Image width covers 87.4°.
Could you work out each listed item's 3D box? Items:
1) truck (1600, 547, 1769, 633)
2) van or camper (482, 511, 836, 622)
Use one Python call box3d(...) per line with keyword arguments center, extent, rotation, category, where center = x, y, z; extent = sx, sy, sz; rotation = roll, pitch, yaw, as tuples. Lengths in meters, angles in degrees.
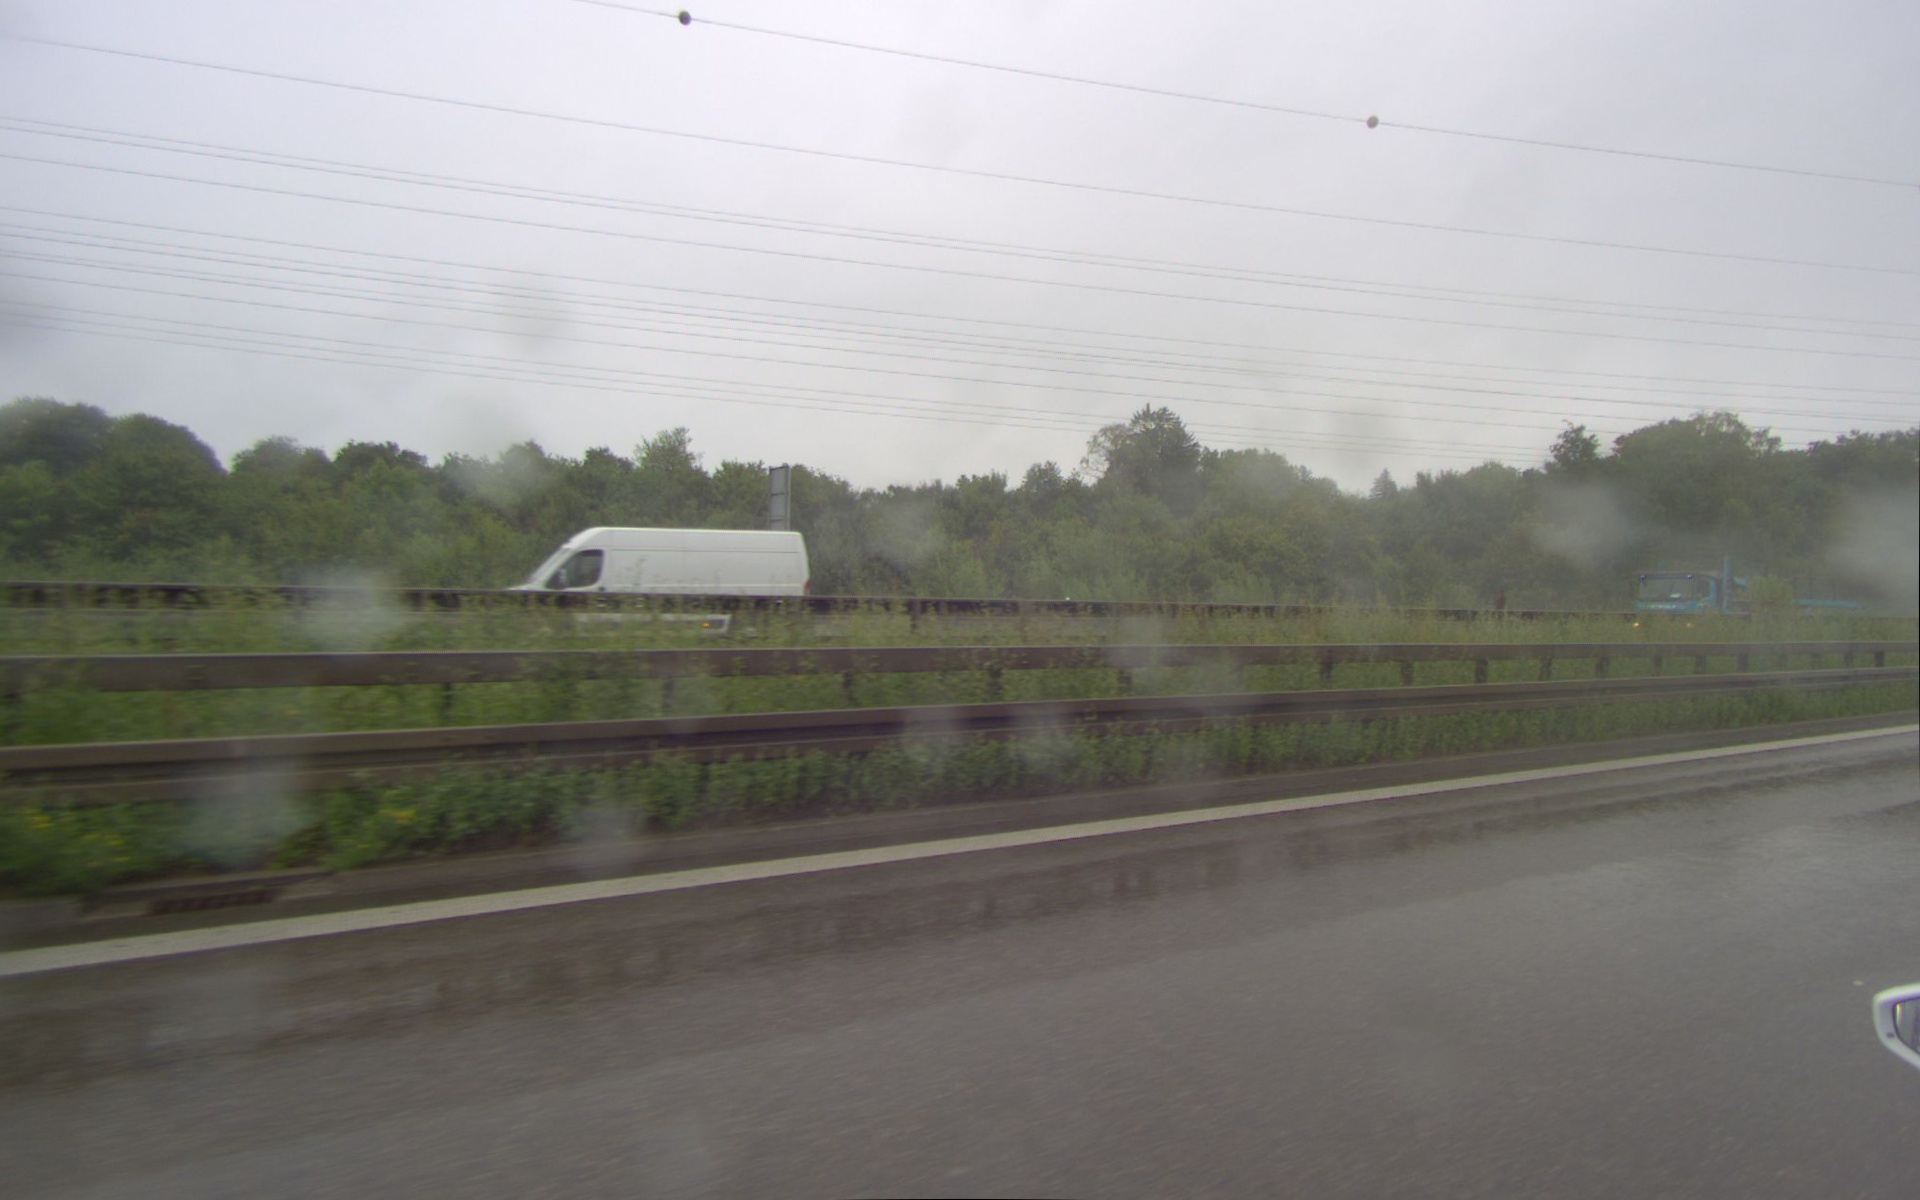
box3d(center=(31.027, -0.417, 42.958), extent=(7.306, 3.321, 3.052), rotation=(1, 4, -31), category="truck")
box3d(center=(-6.129, -0.628, 20.828), extent=(6.679, 1.999, 2.266), rotation=(1, 3, -30), category="van or camper")
